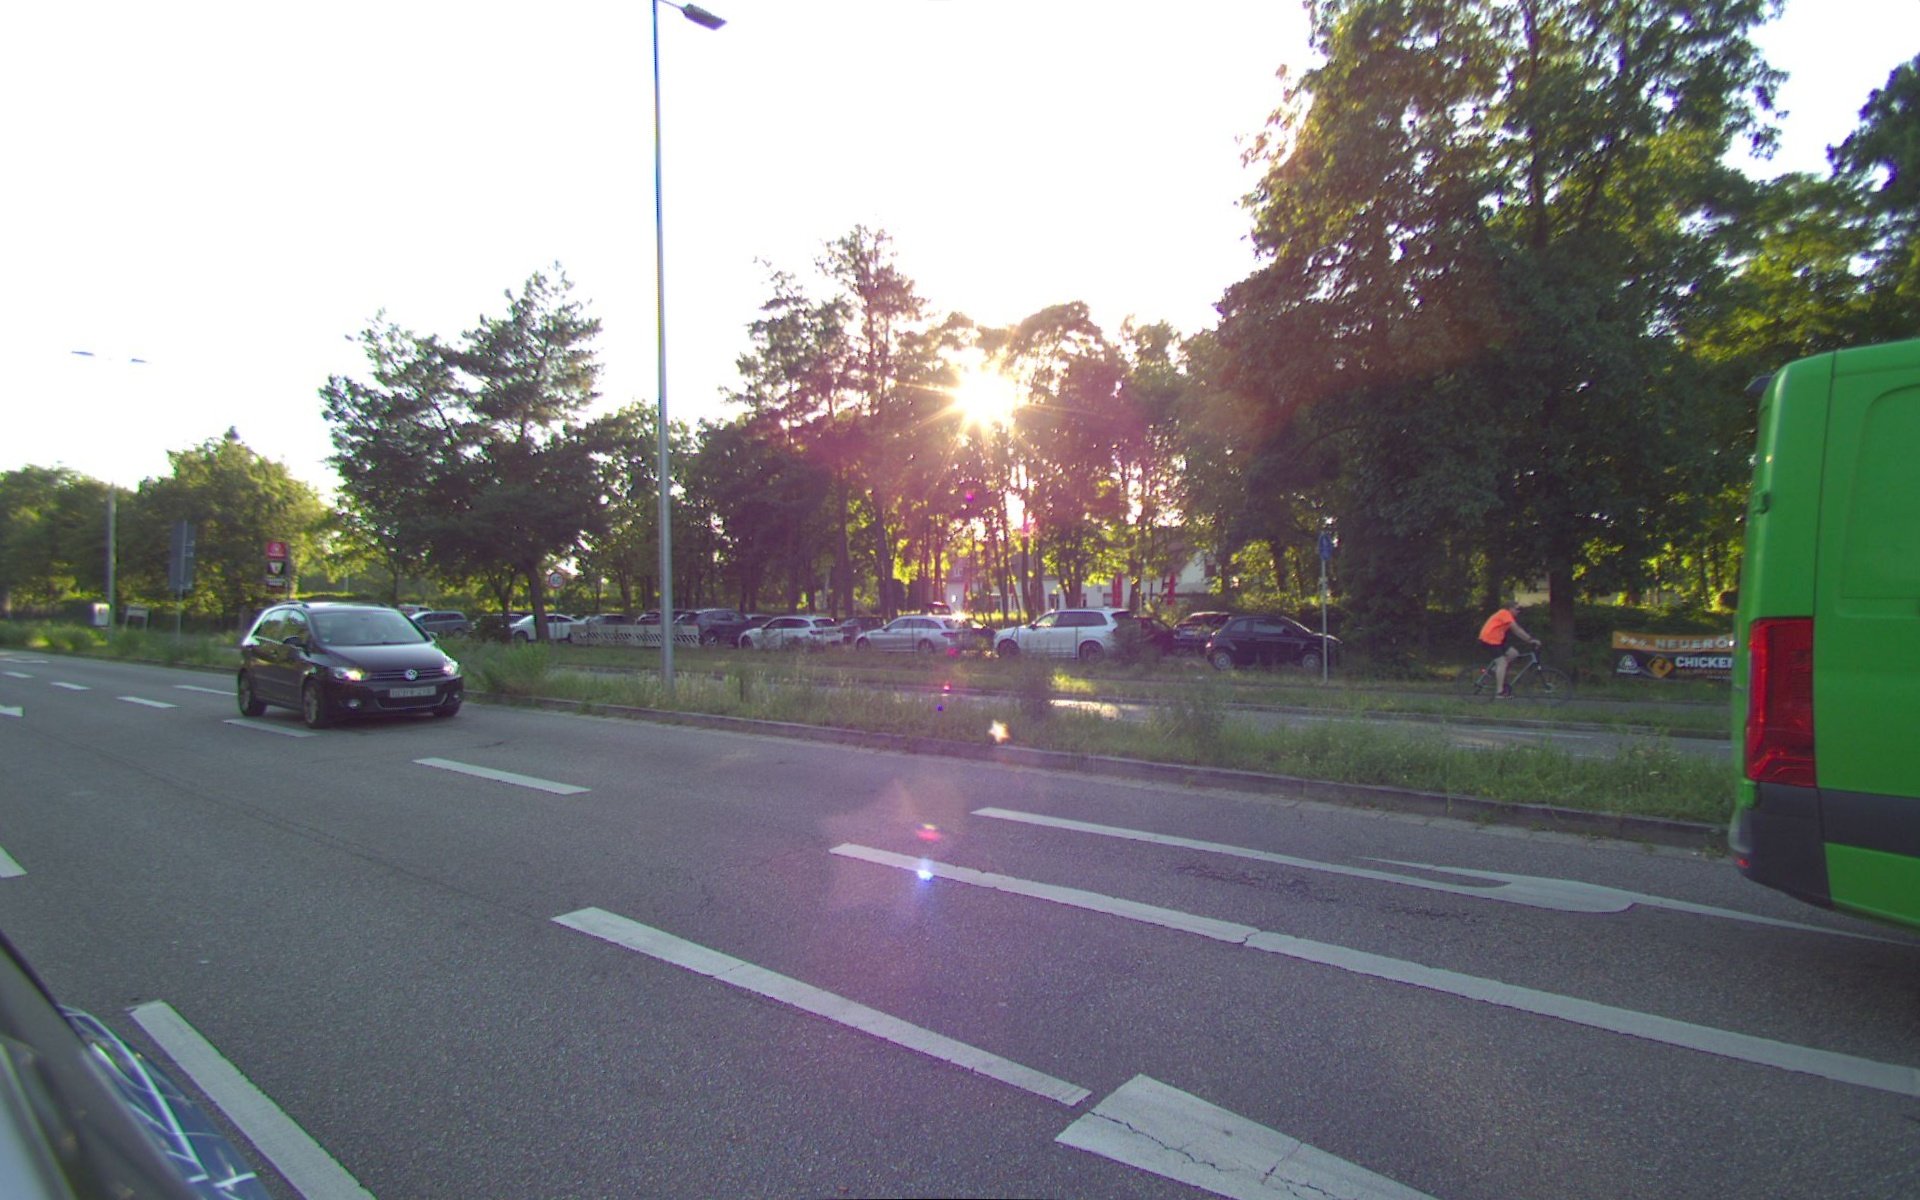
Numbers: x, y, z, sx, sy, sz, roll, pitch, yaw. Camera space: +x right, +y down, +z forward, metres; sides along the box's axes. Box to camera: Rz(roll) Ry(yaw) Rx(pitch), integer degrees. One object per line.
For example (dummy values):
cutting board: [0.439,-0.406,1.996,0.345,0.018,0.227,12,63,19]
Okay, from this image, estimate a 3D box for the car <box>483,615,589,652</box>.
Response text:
car: [-20.807,1.624,49.851,1.908,1.767,4.441,-1,-2,39]

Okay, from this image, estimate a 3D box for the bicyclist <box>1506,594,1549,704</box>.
bicyclist: [9.985,0.856,17.806,0.616,1.888,0.454,-1,-2,33]

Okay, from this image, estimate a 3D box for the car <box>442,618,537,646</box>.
car: [-23.364,1.577,50.340,1.731,1.322,3.947,-1,-2,39]

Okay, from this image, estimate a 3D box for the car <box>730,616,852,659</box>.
car: [-6.608,1.416,39.301,4.701,1.560,1.975,-1,-2,37]

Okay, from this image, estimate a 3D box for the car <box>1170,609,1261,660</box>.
car: [8.997,1.175,35.451,1.914,1.663,3.954,-1,-1,34]

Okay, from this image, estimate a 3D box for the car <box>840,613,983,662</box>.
car: [-1.749,1.287,35.598,4.913,1.619,1.975,-1,-2,37]

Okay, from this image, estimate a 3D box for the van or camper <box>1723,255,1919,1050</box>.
van or camper: [5.467,0.136,2.271,5.891,2.439,1.973,-1,-2,40]

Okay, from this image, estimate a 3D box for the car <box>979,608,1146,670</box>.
car: [3.170,1.178,31.812,4.913,1.800,1.975,-1,-2,37]

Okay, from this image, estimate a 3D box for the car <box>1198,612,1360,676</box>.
car: [8.569,1.148,27.257,3.807,1.609,1.838,-1,-2,36]

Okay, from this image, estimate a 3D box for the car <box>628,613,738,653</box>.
car: [-11.941,1.417,43.896,1.769,1.629,4.470,-1,-2,37]

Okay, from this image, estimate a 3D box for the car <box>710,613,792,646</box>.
car: [-10.906,1.523,52.955,1.765,1.663,3.947,-1,-2,40]

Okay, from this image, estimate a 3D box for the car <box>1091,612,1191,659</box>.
car: [6.819,1.313,37.853,1.918,1.663,3.944,-1,-2,42]

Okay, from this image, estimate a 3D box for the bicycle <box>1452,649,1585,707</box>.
bicycle: [9.840,1.358,17.874,2.038,0.940,0.488,-1,-2,33]

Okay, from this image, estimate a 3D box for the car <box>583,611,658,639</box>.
car: [-20.501,1.508,61.245,1.765,1.663,3.947,-1,-2,40]

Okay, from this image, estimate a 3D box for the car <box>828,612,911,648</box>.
car: [-4.324,1.452,49.054,1.765,1.663,3.947,-1,-2,39]

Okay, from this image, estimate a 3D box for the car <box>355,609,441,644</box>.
car: [-32.539,1.518,58.679,1.764,1.959,3.949,-1,-2,38]

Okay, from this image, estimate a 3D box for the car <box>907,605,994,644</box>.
car: [-0.389,1.105,45.119,1.765,1.663,3.947,-1,-2,39]

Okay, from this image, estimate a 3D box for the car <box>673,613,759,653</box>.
car: [-9.954,1.328,41.380,1.657,1.538,3.060,-1,-2,38]

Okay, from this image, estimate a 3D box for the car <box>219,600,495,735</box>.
car: [-8.286,0.824,13.791,3.995,1.564,1.974,-1,-2,39]

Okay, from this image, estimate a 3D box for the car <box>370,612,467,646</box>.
car: [-30.259,1.608,56.666,1.907,1.811,4.443,-1,-2,38]
